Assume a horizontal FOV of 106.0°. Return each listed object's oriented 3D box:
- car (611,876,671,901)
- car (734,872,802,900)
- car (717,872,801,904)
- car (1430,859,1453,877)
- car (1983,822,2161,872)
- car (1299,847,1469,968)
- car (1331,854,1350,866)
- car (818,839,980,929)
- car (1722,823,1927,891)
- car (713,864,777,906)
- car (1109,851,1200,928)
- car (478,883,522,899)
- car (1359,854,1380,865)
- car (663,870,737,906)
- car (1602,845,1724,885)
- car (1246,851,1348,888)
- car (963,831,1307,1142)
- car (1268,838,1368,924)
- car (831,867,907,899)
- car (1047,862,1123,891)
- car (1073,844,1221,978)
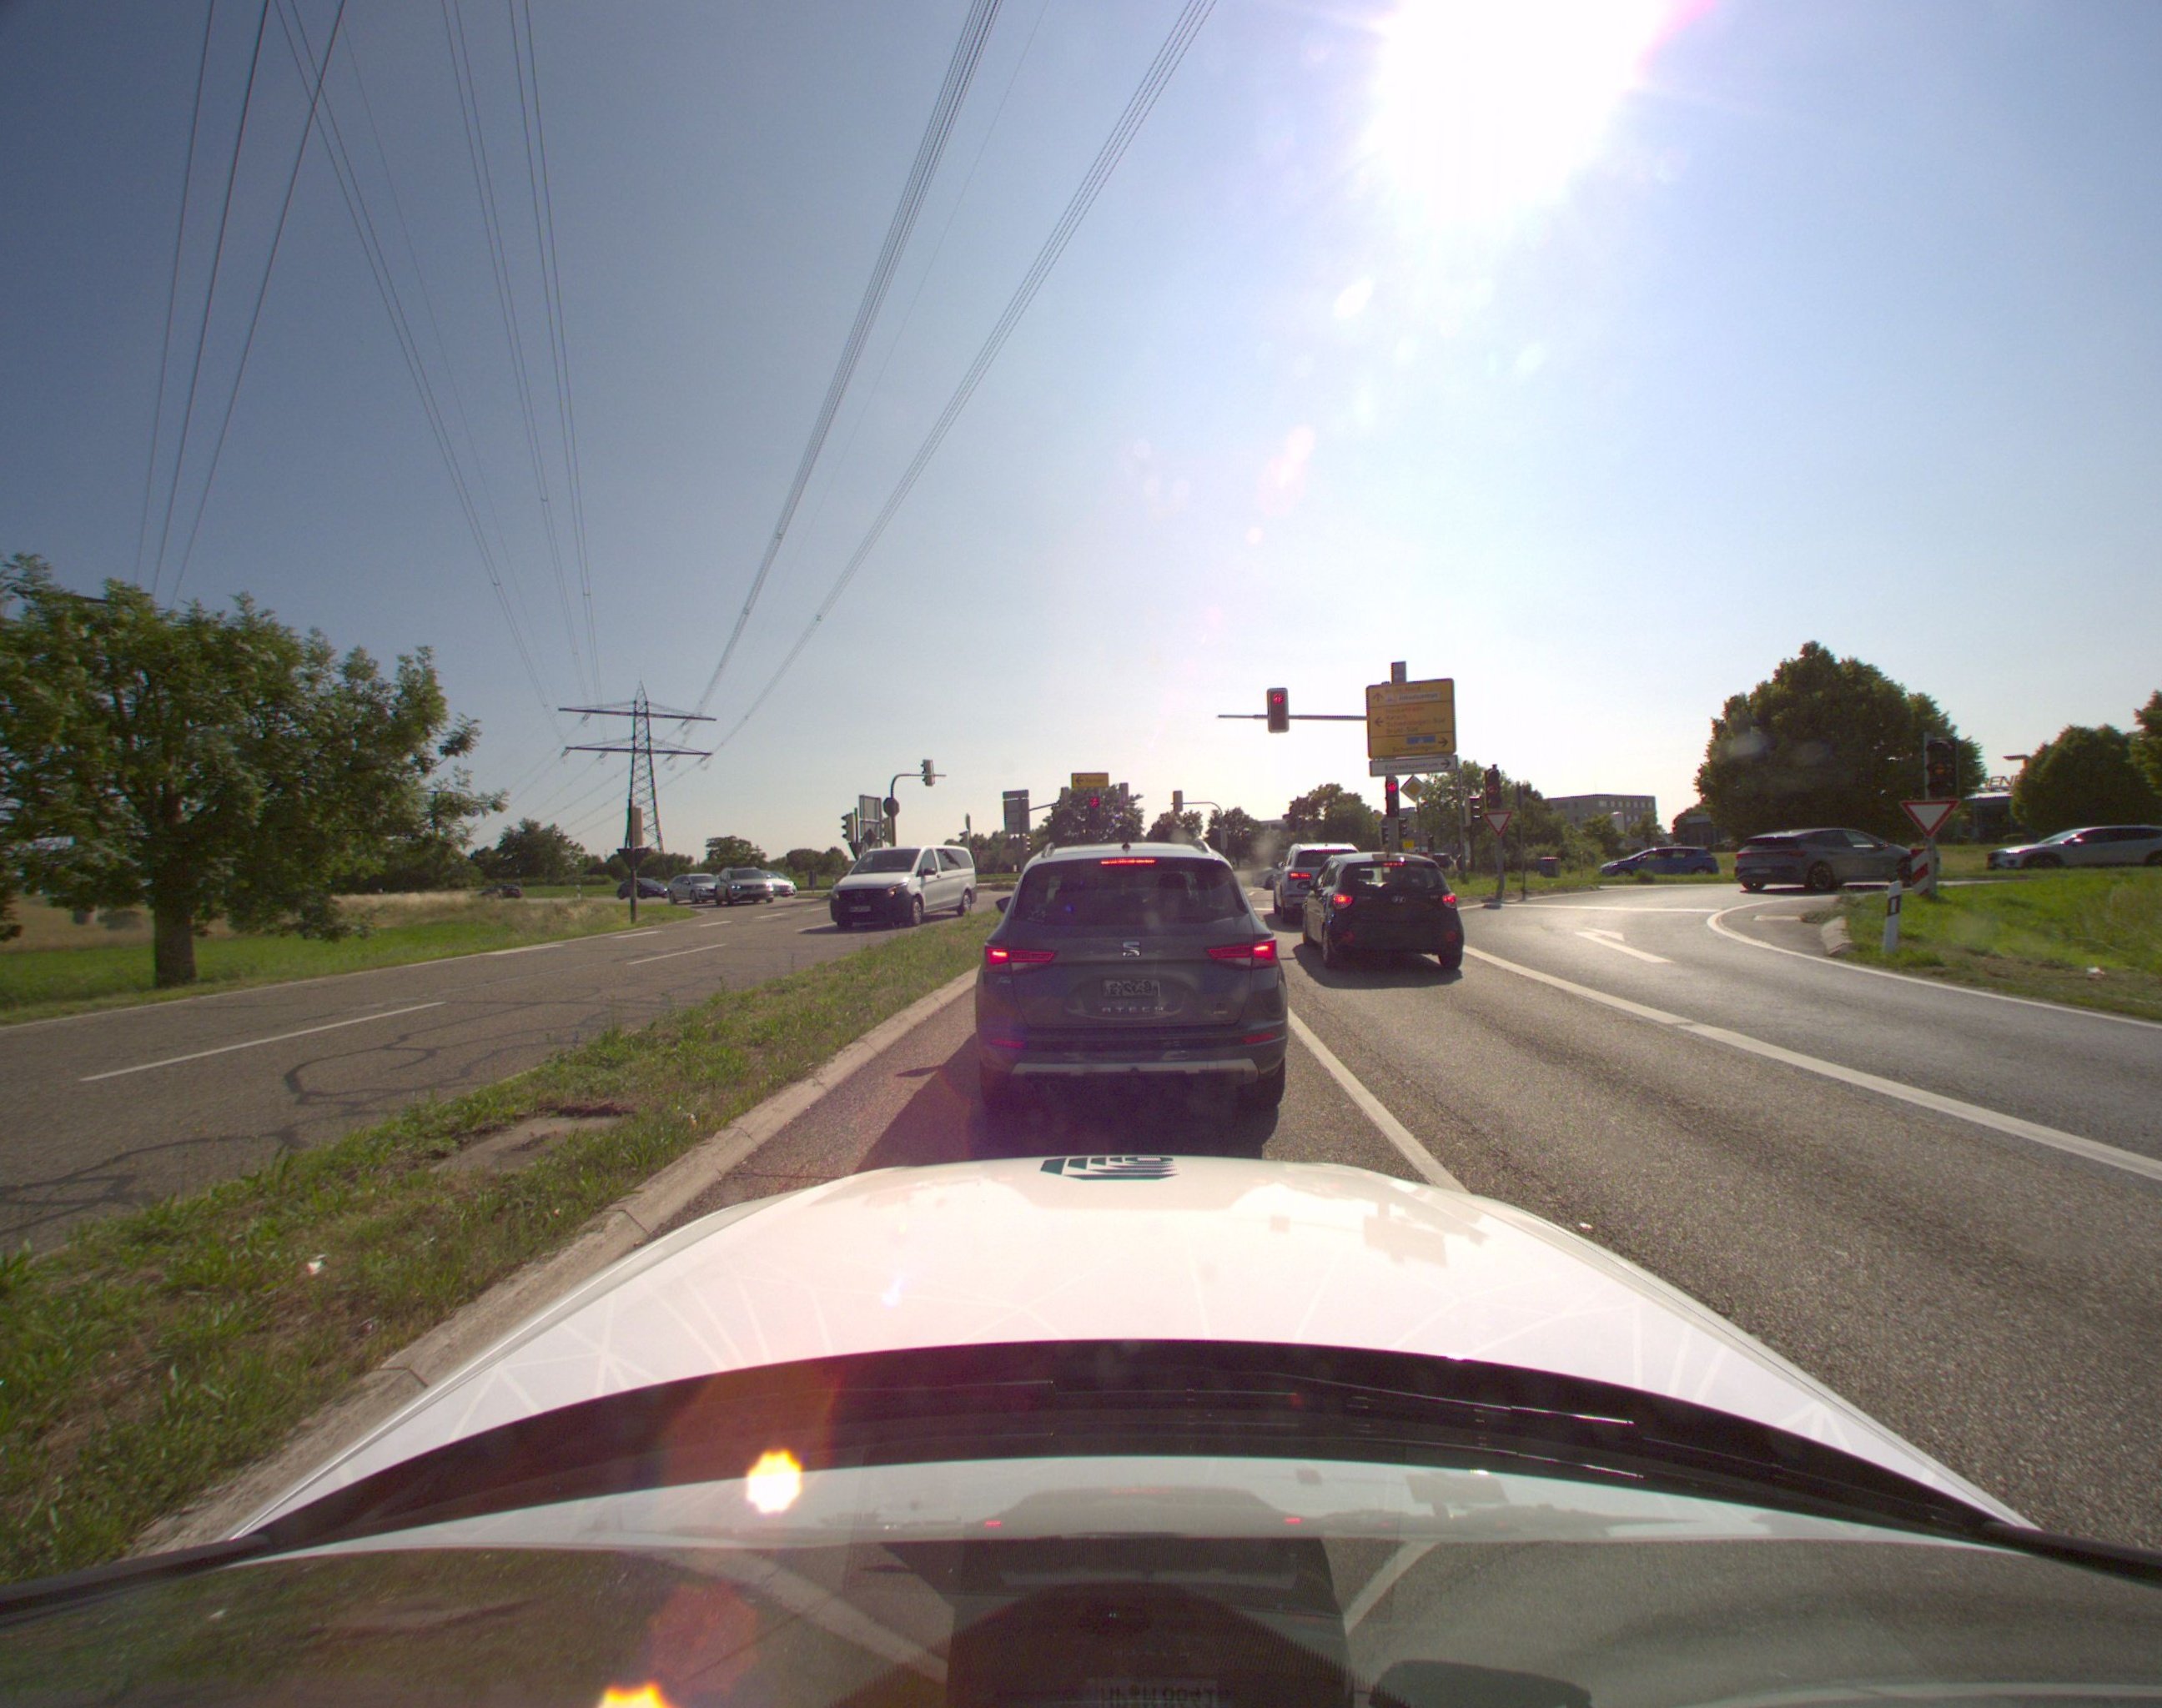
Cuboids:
[{"bbox_3d":[-30.677,2.396,56.756,3.949,1.651,1.831,-2,-1,30],"label":"car"},{"bbox_3d":[-19.519,2.010,50.733,3.949,1.651,1.831,-2,-1,30],"label":"car"},{"bbox_3d":[-18.234,1.931,46.038,4.700,1.651,1.831,-2,-1,30],"label":"car"},{"bbox_3d":[35.997,1.381,81.181,1.859,1.673,3.792,0,-1,27],"label":"car"},{"bbox_3d":[33.574,-0.219,27.327,3.986,1.519,1.818,-2,-1,27],"label":"car"},{"bbox_3d":[4.113,0.654,11.543,1.623,1.448,3.303,-1,0,9],"label":"car"},{"bbox_3d":[32.841,0.741,102.969,1.695,1.549,3.633,0,-1,29],"label":"car"},{"bbox_3d":[-4.238,0.638,19.946,1.980,1.918,4.964,-1,0,12],"label":"car"},{"bbox_3d":[18.899,0.065,20.769,4.088,1.517,1.771,-2,-1,-12],"label":"car"},{"bbox_3d":[-14.525,1.320,35.107,1.827,1.651,3.958,-1,-1,-34],"label":"car"},{"bbox_3d":[1.639,0.697,17.473,1.732,1.484,3.631,0,-1,7],"label":"car"},{"bbox_3d":[-55.199,3.493,77.363,4.051,1.416,1.727,-2,-1,28],"label":"car"},{"bbox_3d":[41.884,0.839,118.248,1.695,1.549,3.633,0,-1,39],"label":"car"},{"bbox_3d":[-18.909,1.684,40.376,3.948,1.651,1.832,-2,-1,41],"label":"car"},{"bbox_3d":[23.522,0.451,33.102,3.830,1.519,1.819,-2,-1,30],"label":"car"},{"bbox_3d":[9.044,0.640,34.081,3.865,1.465,1.733,-1,-1,22],"label":"car"},{"bbox_3d":[0.329,0.686,5.941,1.735,1.569,3.625,0,-1,2],"label":"car"},{"bbox_3d":[5.075,0.551,17.836,1.623,1.677,3.759,-1,0,9],"label":"car"},{"bbox_3d":[-12.031,1.657,46.175,3.949,1.651,1.831,-2,-1,30],"label":"car"},{"bbox_3d":[0.219,1.278,45.879,3.831,1.519,1.819,-2,-1,27],"label":"car"},{"bbox_3d":[0.866,0.685,11.412,1.735,1.569,3.627,0,-1,3],"label":"car"}]
